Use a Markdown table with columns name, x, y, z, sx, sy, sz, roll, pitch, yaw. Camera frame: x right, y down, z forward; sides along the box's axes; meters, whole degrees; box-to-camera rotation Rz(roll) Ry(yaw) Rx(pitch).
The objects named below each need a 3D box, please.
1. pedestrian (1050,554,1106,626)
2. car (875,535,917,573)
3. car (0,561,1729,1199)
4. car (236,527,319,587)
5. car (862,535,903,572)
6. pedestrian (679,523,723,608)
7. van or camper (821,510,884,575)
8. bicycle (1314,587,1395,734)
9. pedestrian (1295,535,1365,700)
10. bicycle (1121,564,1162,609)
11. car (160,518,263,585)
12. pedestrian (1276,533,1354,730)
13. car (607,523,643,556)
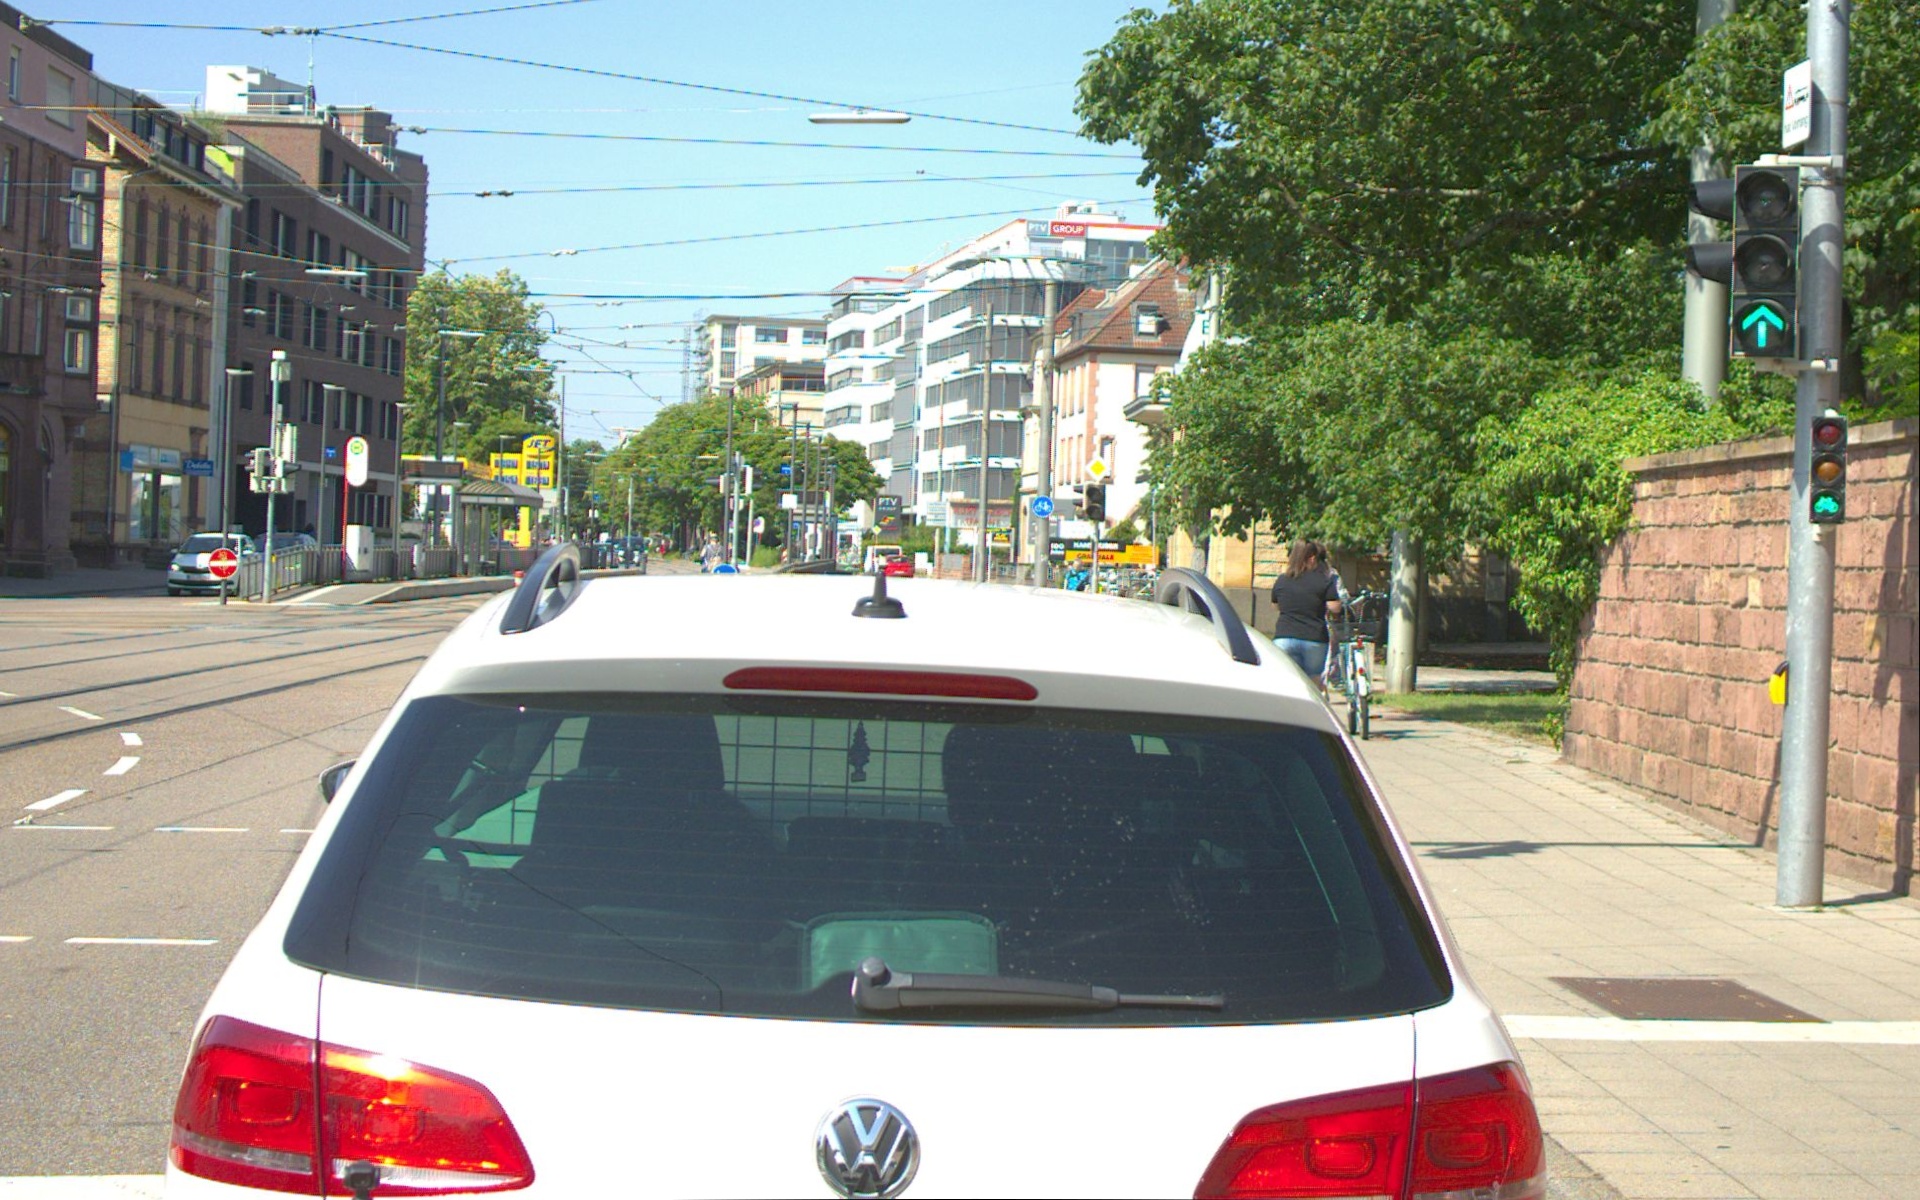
| name | x | y | z | sx | sy | sz | roll | pitch | yaw |
| --- | --- | --- | --- | --- | --- | --- | --- | --- | --- |
| pedestrian | 2.529 | -0.221 | 73.780 | 0.858 | 1.505 | 0.780 | 3 | 1 | 41 |
| car | -3.596 | -2.572 | 192.413 | 1.993 | 2.007 | 4.001 | 2 | 1 | -5 |
| car | -0.147 | 0.685 | 5.384 | 1.752 | 1.413 | 3.853 | 2 | 1 | -1 |
| car | -17.469 | -1.103 | 88.120 | 1.572 | 1.454 | 3.815 | 2 | 1 | -4 |
| car | -4.476 | -2.675 | 197.817 | 1.993 | 2.007 | 4.001 | 2 | 1 | -5 |
| pedestrian | -5.575 | -0.748 | 74.048 | 0.826 | 1.803 | 0.833 | 2 | 1 | 0 |
| van or camper | -5.549 | -2.980 | 177.012 | 2.943 | 3.169 | 6.614 | 2 | 1 | -3 |
| bicycle | 3.123 | 0.461 | 27.142 | 0.536 | 1.107 | 1.806 | 1 | 0 | 9 |
| pedestrian | 3.849 | 0.177 | 35.752 | 0.650 | 1.676 | 0.707 | 2 | 1 | 6 |
| bicycle | 4.778 | -0.369 | 90.240 | 0.726 | 1.135 | 2.193 | 2 | 1 | 12 |
| car | -17.460 | -1.134 | 80.364 | 1.625 | 1.426 | 3.963 | 3 | 1 | -2 |
| pedestrian | 2.811 | 0.244 | 27.265 | 0.540 | 1.543 | 0.663 | 0 | 1 | -1 |
| car | -20.687 | -3.717 | 212.206 | 1.993 | 2.007 | 4.000 | 1 | 1 | -2 |
